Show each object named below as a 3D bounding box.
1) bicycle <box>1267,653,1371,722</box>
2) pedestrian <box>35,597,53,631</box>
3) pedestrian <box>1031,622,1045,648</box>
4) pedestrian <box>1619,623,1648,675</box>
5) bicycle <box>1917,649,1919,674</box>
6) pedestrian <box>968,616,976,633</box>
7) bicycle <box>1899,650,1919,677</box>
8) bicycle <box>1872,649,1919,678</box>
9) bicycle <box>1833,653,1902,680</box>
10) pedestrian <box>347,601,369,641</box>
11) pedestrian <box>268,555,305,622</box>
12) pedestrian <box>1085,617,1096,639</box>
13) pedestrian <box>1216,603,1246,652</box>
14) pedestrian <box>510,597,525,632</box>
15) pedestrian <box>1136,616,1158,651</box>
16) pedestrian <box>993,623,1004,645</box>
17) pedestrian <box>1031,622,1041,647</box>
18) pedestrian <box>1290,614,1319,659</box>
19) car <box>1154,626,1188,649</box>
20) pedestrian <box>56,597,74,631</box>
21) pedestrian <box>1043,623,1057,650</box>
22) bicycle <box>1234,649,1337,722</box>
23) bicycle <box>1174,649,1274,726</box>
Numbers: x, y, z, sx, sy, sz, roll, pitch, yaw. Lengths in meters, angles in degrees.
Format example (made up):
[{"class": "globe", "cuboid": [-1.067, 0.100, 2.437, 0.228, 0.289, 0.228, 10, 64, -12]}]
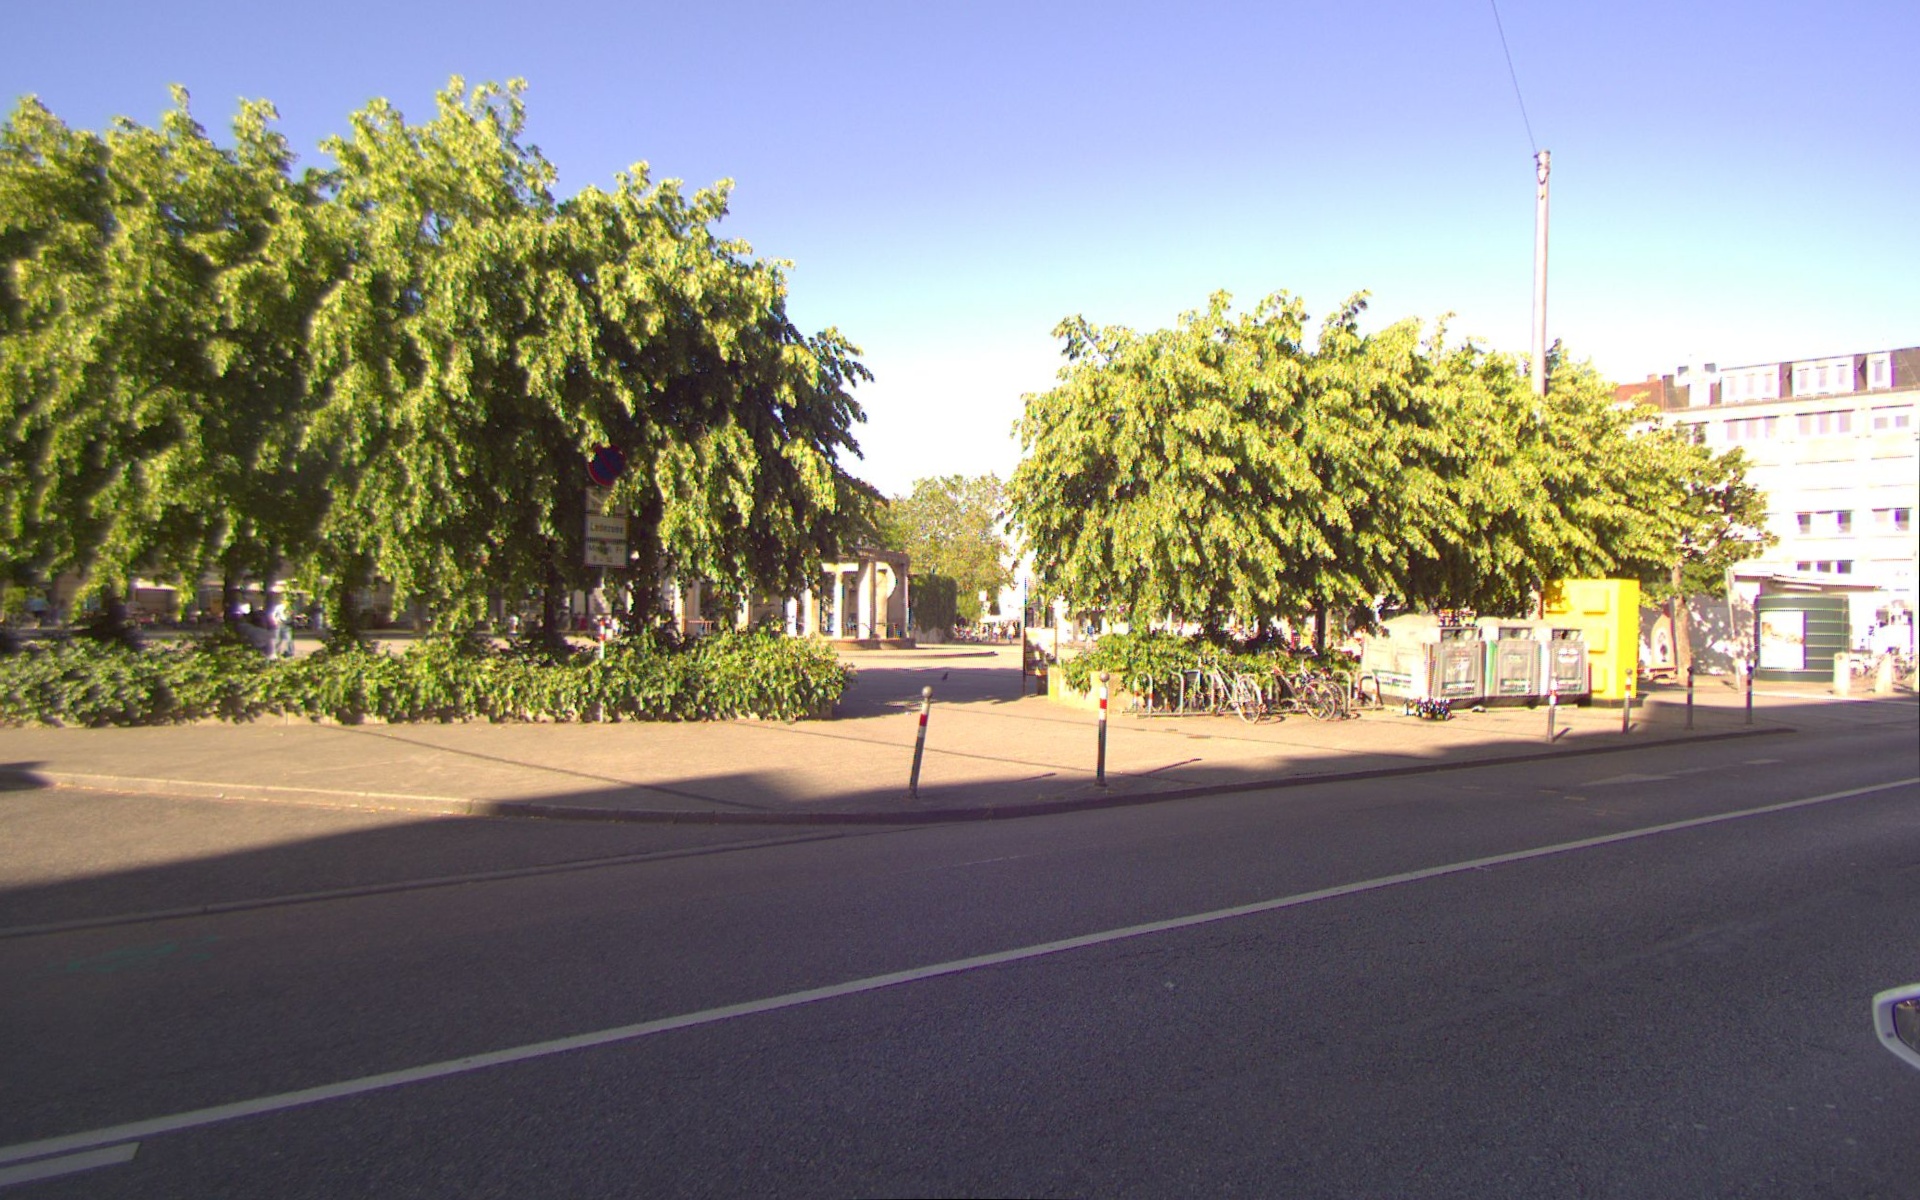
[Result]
[{"class": "bicycle", "cuboid": [5.826, 1.399, 16.416, 0.508, 0.968, 1.898, 2, 0, -20]}, {"class": "pedestrian", "cuboid": [-47.909, 0.728, 52.527, 0.600, 1.744, 0.643, 2, 0, 45]}, {"class": "pedestrian", "cuboid": [6.156, 2.766, 79.260, 0.860, 2.040, 0.902, 2, 0, -5]}, {"class": "pedestrian", "cuboid": [22.966, 1.669, 34.252, 0.700, 1.739, 0.475, 2, 0, -20]}, {"class": "bicycle", "cuboid": [37.061, 2.355, 37.485, 0.599, 0.946, 1.854, 2, 0, -30]}, {"class": "pedestrian", "cuboid": [1.402, 2.884, 117.178, 0.629, 1.974, 0.675, 2, 0, -14]}, {"class": "bicycle", "cuboid": [35.055, 2.332, 36.062, 0.599, 0.946, 1.854, 2, 0, -30]}, {"class": "bicycle", "cuboid": [33.192, 2.225, 35.104, 0.599, 0.946, 1.855, 2, 0, -30]}, {"class": "bicycle", "cuboid": [30.820, 2.245, 34.127, 0.600, 0.802, 1.634, 2, 0, -33]}, {"class": "pedestrian", "cuboid": [-26.708, 0.911, 44.573, 0.599, 1.744, 0.644, 2, 0, 37]}, {"class": "pedestrian", "cuboid": [-17.890, -0.311, 26.681, 0.599, 1.744, 0.644, 2, 0, 41]}, {"class": "pedestrian", "cuboid": [12.908, 2.774, 99.474, 0.860, 2.199, 0.902, 2, 0, -5]}, {"class": "pedestrian", "cuboid": [11.557, 1.177, 42.833, 0.875, 2.040, 0.896, 1, 0, -17]}, {"class": "pedestrian", "cuboid": [-25.217, 0.829, 57.229, 0.669, 1.974, 0.634, 2, 0, -33]}, {"class": "pedestrian", "cuboid": [11.129, 2.006, 59.793, 1.014, 2.040, 1.159, 1, -1, -5]}, {"class": "pedestrian", "cuboid": [3.586, 3.183, 93.658, 0.860, 2.040, 0.902, 2, 0, -5]}, {"class": "pedestrian", "cuboid": [6.200, 2.817, 82.051, 0.628, 1.974, 0.676, 2, 0, -7]}, {"class": "pedestrian", "cuboid": [13.178, 1.391, 38.477, 0.774, 1.720, 0.763, 1, 0, -6]}, {"class": "car", "cuboid": [13.392, 2.366, 63.853, 1.658, 1.405, 3.575, 1, -1, 5]}, {"class": "pedestrian", "cuboid": [-46.852, 0.735, 52.558, 0.600, 1.744, 0.643, 2, 0, 45]}, {"class": "pedestrian", "cuboid": [7.118, 2.861, 79.349, 0.860, 2.040, 0.902, 2, 0, -5]}, {"class": "bicycle", "cuboid": [5.247, 1.360, 16.310, 0.508, 1.016, 1.923, 2, 0, -20]}, {"class": "bicycle", "cuboid": [4.070, 1.323, 15.654, 0.508, 1.029, 1.930, 2, 0, -19]}]
